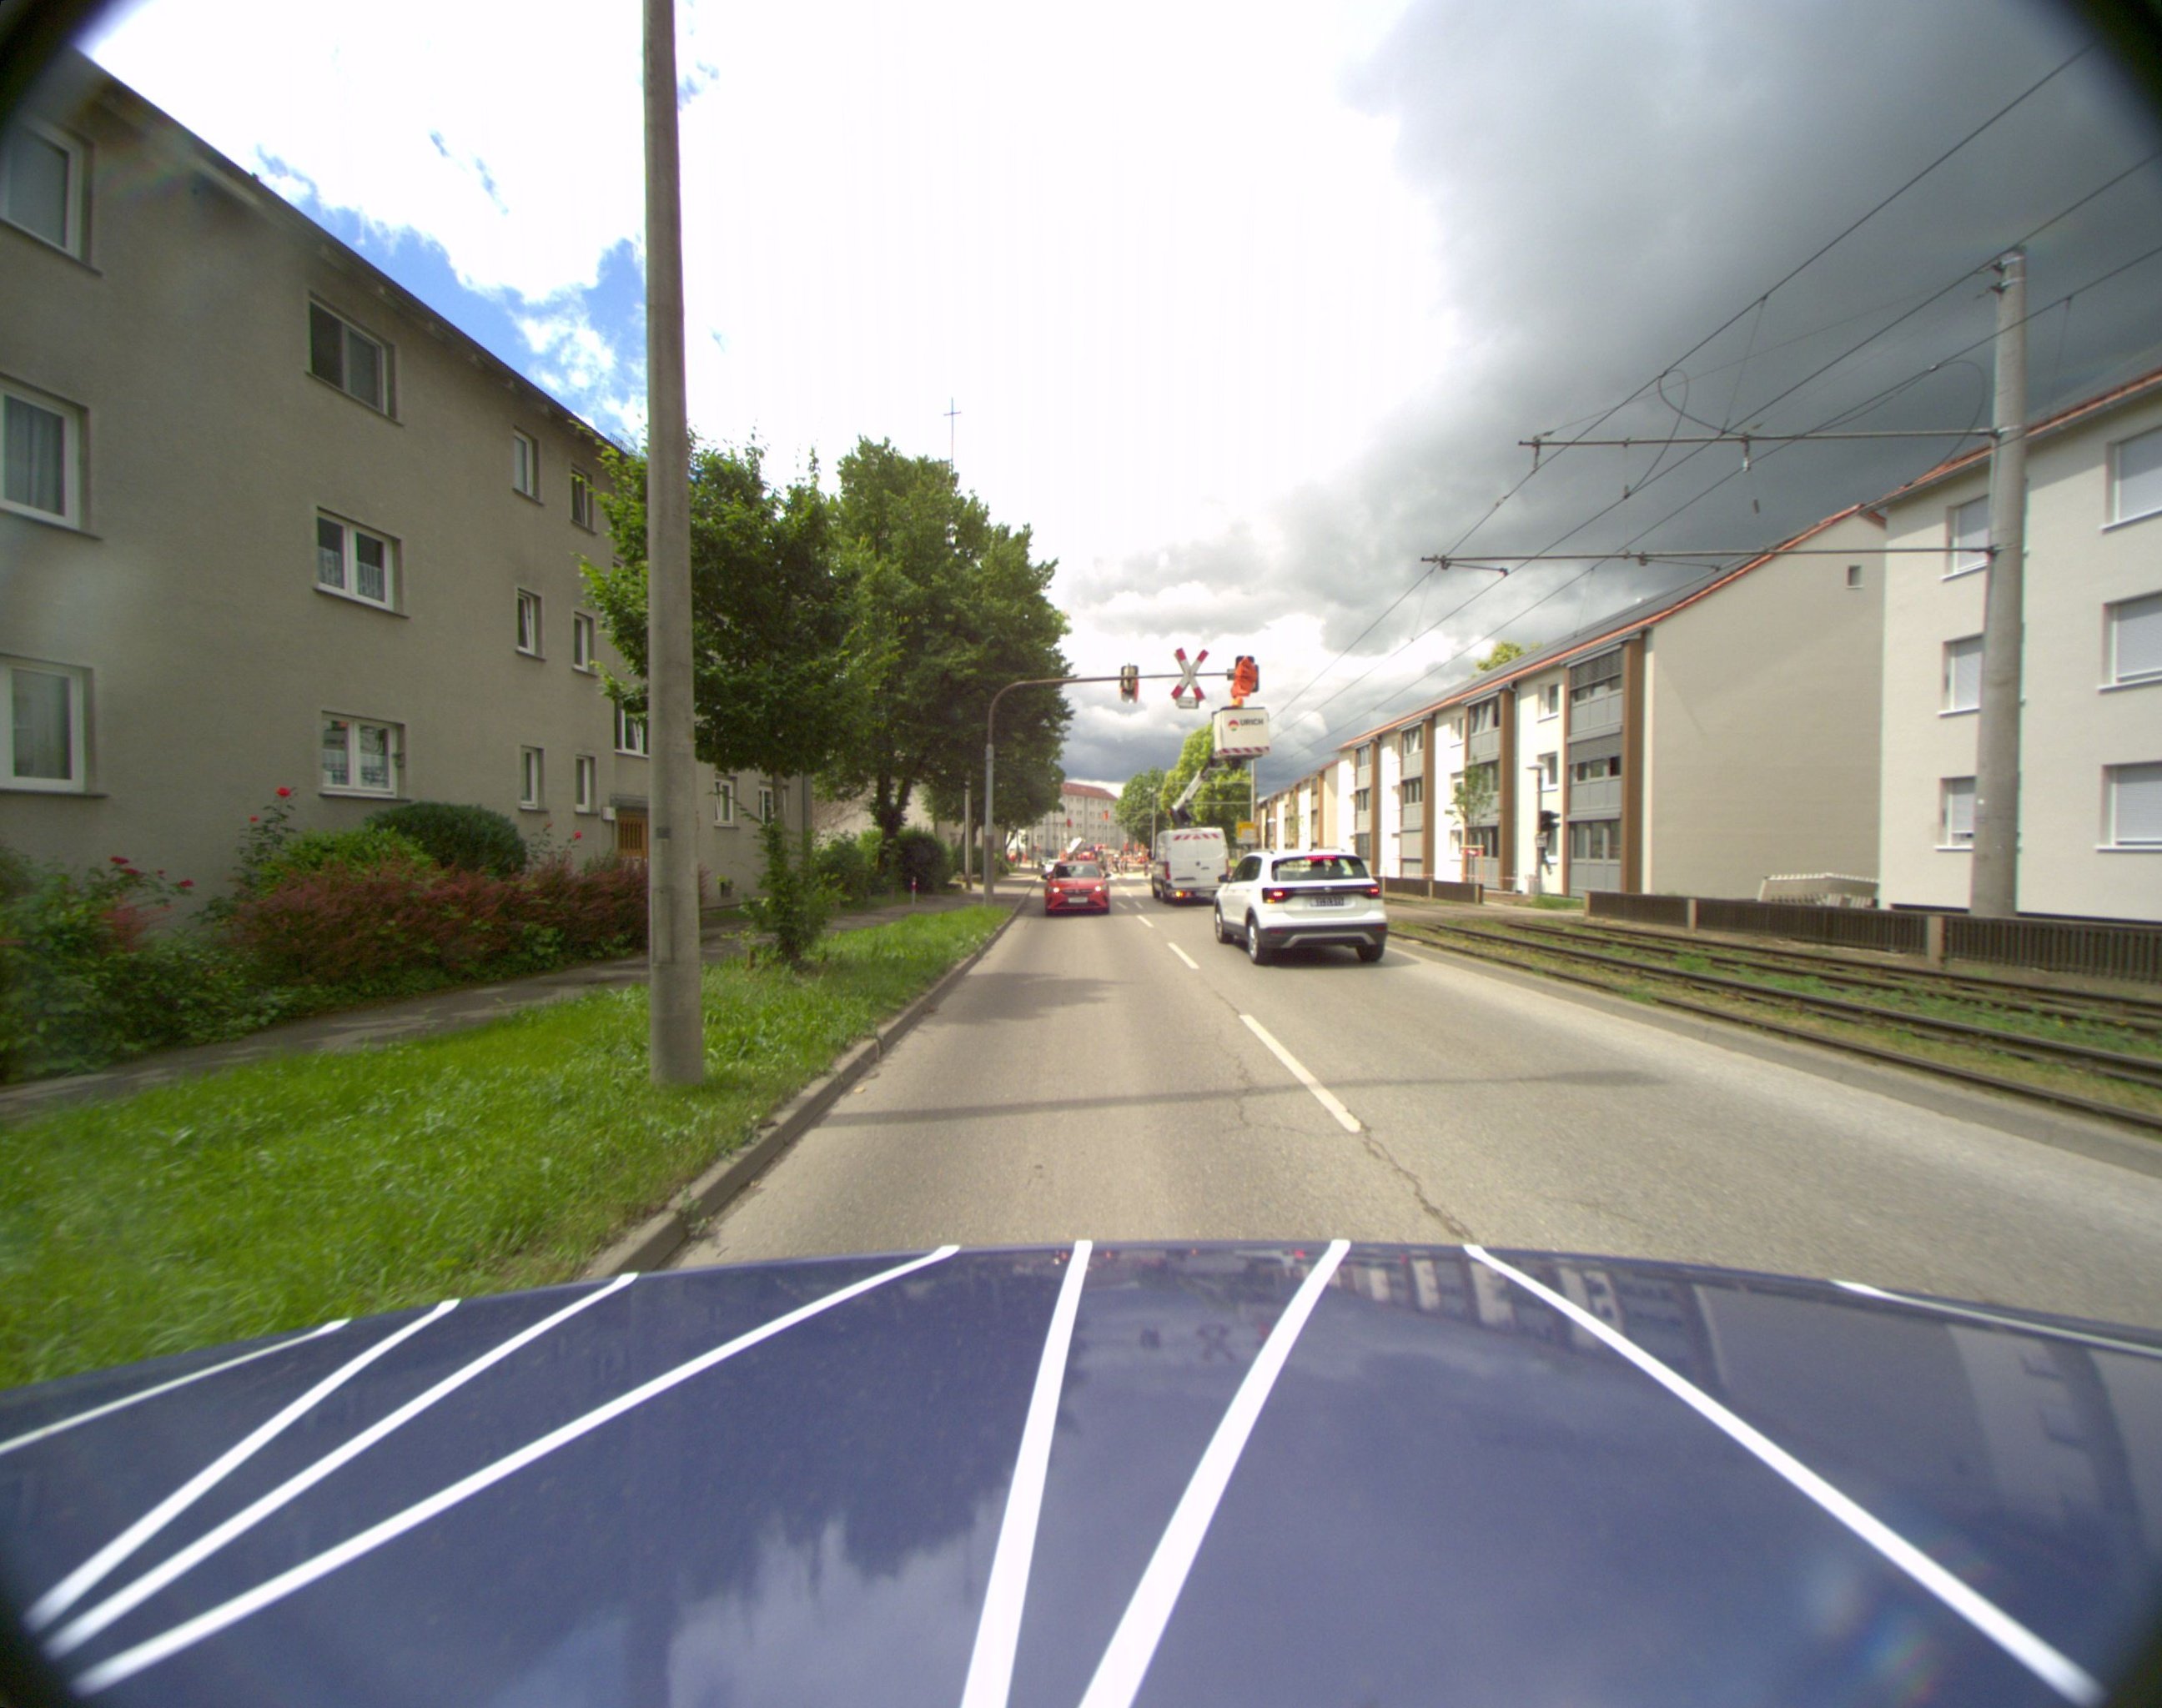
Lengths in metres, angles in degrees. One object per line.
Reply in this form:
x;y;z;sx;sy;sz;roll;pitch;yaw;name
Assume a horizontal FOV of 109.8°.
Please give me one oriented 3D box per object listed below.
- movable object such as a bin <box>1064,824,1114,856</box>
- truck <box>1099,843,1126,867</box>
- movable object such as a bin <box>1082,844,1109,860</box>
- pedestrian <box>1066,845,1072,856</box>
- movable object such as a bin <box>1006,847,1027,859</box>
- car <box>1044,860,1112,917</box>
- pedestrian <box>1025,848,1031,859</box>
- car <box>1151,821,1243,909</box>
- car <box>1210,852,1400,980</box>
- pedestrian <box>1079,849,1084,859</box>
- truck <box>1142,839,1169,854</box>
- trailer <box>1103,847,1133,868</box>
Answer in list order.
1.526;-2.421;136.220;9.054;5.453;2.813;0;0;-36;movable object such as a bin
3.736;0.119;90.941;2.669;2.709;6.394;-1;0;-3;truck
2.486;-0.391;131.112;2.110;2.653;5.598;1;2;31;movable object such as a bin
-2.244;-0.658;141.193;0.882;1.897;0.665;-1;2;-31;pedestrian
-11.407;-0.207;134.251;2.959;2.002;2.004;0;0;35;movable object such as a bin
-0.065;0.930;22.213;1.769;1.425;3.838;-2;0;0;car
-9.306;-0.099;133.078;0.767;1.828;0.785;0;1;24;pedestrian
3.529;0.312;24.405;1.998;2.416;6.321;-1;0;1;car
3.144;0.778;11.484;1.722;1.543;3.917;-2;0;1;car
0.158;-0.038;132.647;0.611;1.778;0.583;-1;0;29;pedestrian
12.814;-1.282;130.120;2.412;2.553;5.594;0;1;31;truck
4.048;0.368;84.617;2.669;2.201;6.246;-1;0;-3;trailer
